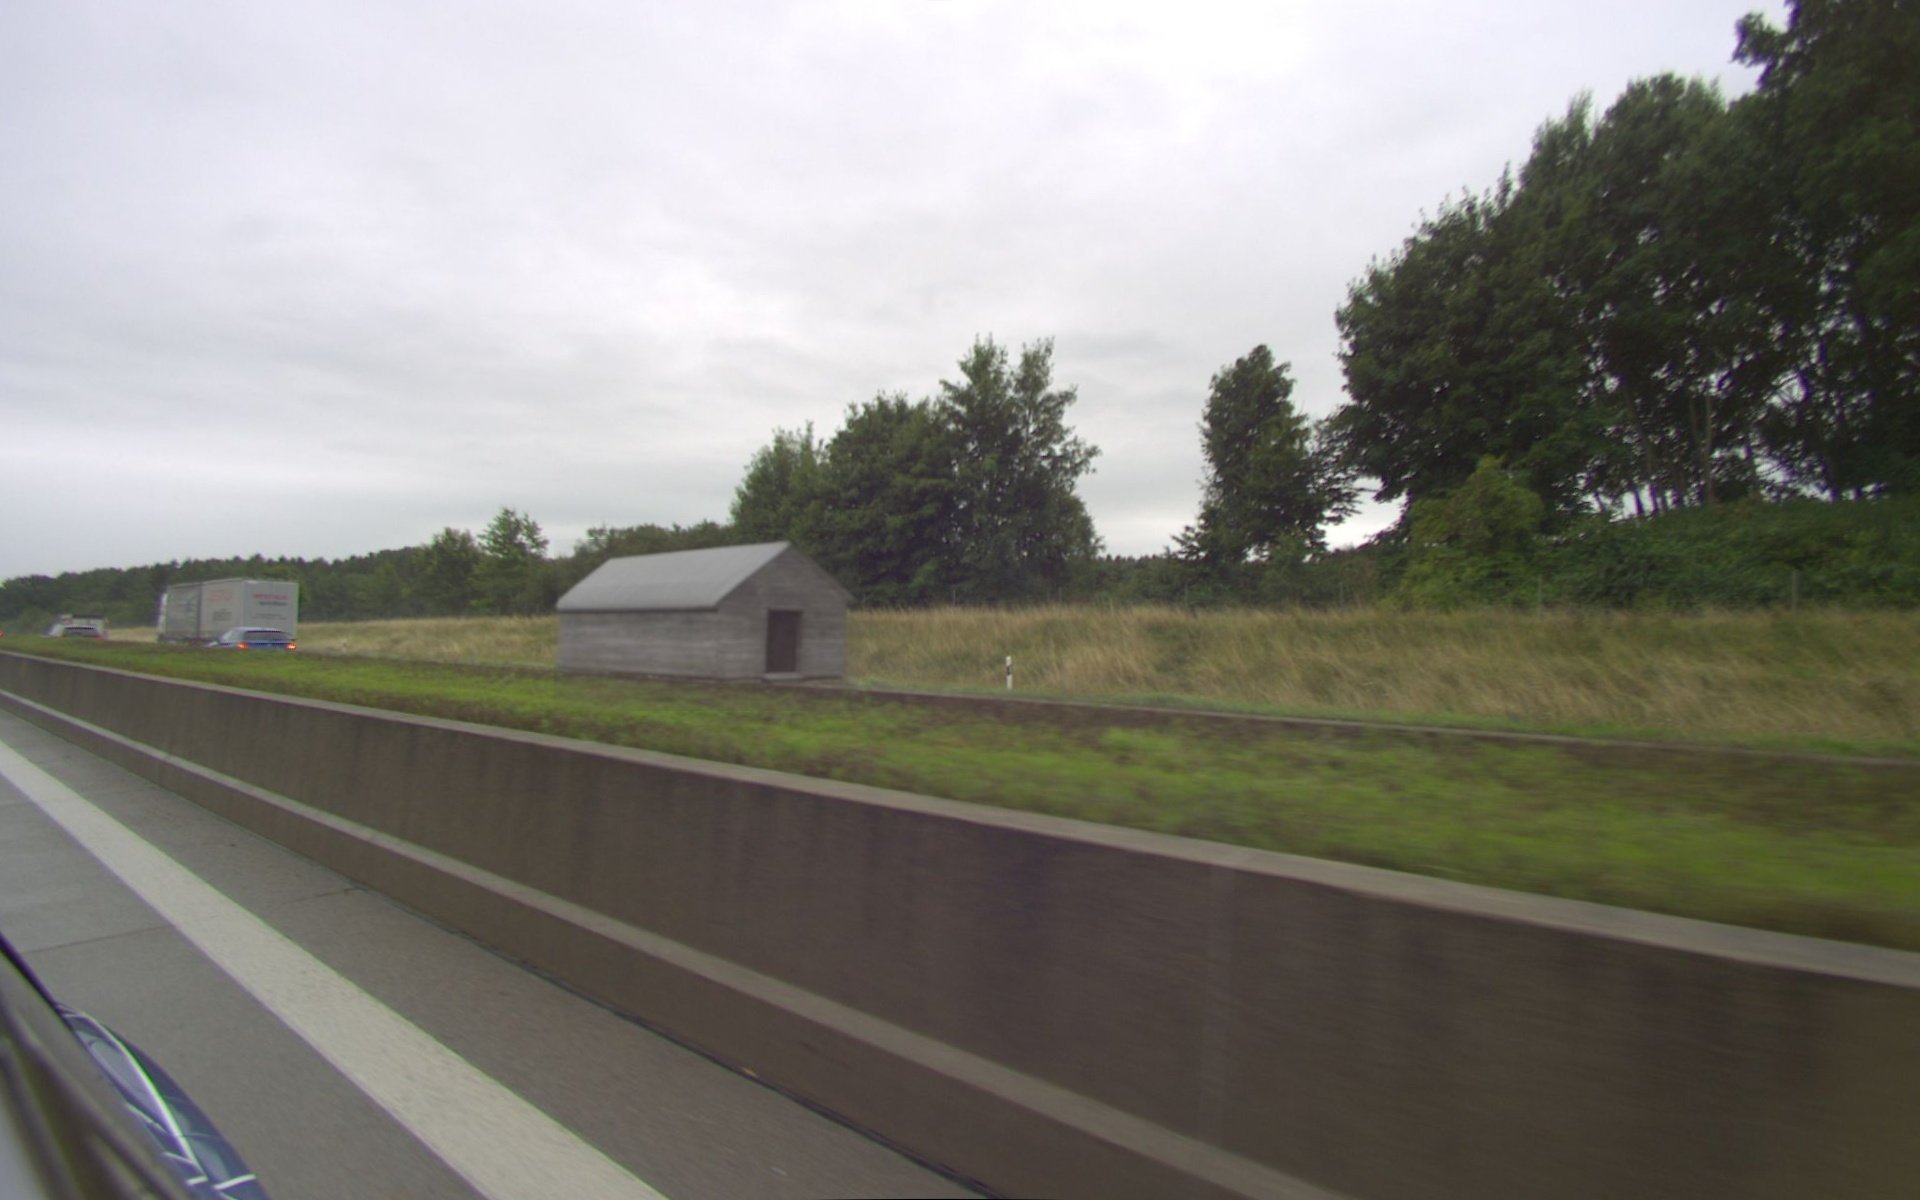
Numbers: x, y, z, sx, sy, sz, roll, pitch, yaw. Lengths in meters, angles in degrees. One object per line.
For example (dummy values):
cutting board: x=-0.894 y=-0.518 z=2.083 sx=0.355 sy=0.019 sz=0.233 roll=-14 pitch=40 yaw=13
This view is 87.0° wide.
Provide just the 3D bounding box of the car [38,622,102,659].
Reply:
car: x=-42.843 y=1.908 z=48.686 sx=4.453 sy=1.699 sz=1.742 roll=-1 pitch=-2 yaw=41

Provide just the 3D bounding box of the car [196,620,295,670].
car: x=-23.595 y=1.457 z=33.373 sx=4.463 sy=1.528 sz=1.646 roll=-2 pitch=-2 yaw=41

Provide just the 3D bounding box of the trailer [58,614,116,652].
trailer: x=-57.606 y=2.152 z=66.750 sx=5.831 sy=2.391 sz=2.017 roll=-1 pitch=-2 yaw=41

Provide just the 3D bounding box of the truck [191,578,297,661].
truck: x=-38.999 y=1.148 z=54.990 sx=8.588 sy=4.172 sz=2.557 roll=-2 pitch=-4 yaw=41

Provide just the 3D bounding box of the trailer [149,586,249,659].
trailer: x=-46.175 y=1.452 z=61.254 sx=10.369 sy=4.078 sz=2.559 roll=-2 pitch=-5 yaw=41

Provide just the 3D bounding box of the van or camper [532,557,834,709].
van or camper: x=-6.205 y=0.669 z=21.833 sx=7.710 sy=2.756 sz=2.387 roll=-1 pitch=-2 yaw=41

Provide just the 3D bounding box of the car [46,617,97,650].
car: x=-61.767 y=2.333 z=70.311 sx=5.204 sy=2.197 sz=1.973 roll=-1 pitch=-2 yaw=41
